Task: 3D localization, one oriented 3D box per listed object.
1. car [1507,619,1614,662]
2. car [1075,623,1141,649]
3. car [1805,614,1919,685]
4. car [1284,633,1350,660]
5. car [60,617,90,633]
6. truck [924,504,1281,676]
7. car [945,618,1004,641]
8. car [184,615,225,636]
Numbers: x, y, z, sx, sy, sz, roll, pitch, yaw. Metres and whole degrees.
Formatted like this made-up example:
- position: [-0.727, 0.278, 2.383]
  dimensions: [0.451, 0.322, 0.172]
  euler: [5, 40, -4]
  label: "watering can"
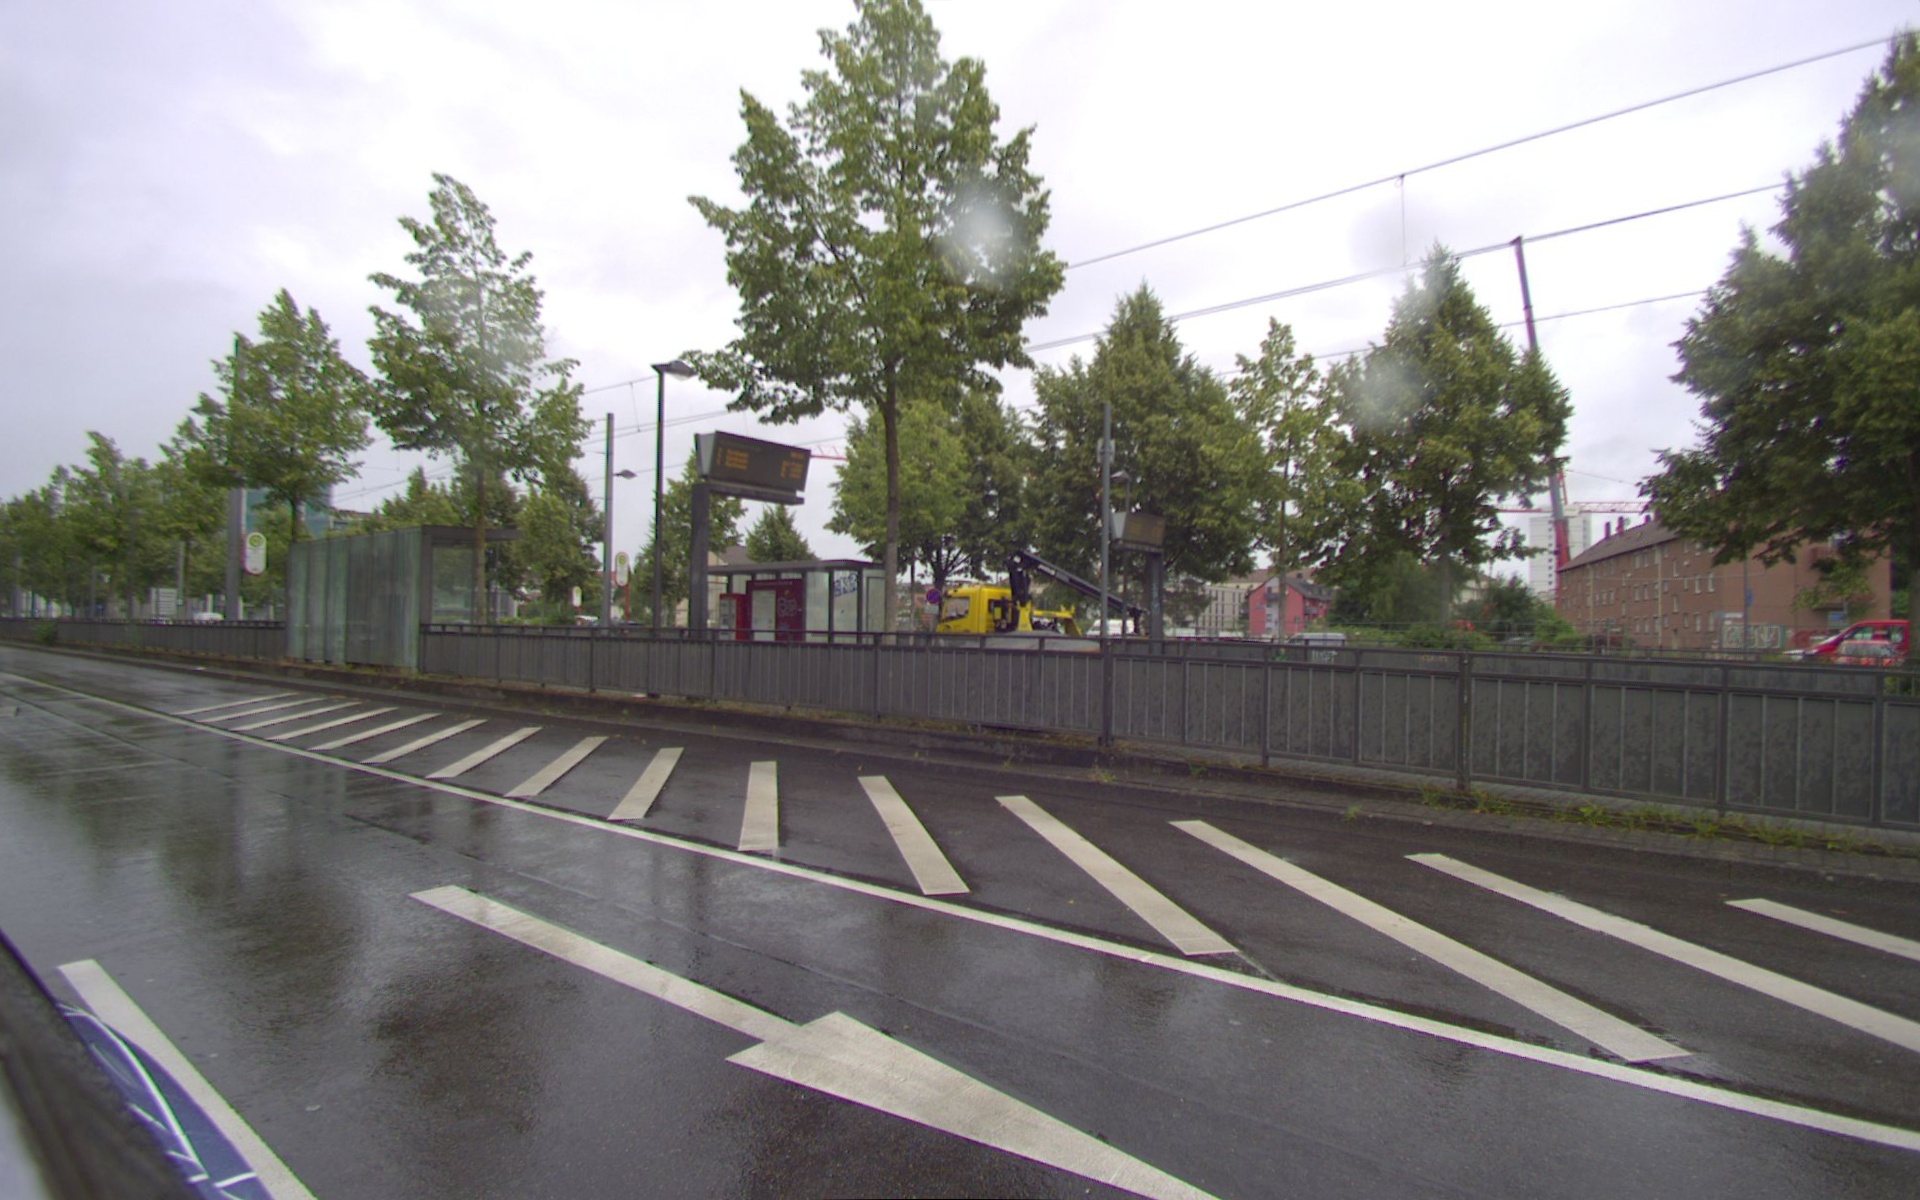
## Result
- position: [36.667, 2.432, 61.897]
  dimensions: [5.482, 2.471, 1.976]
  euler: [0, 0, 36]
  label: "car"
- position: [12.855, 3.089, 88.132]
  dimensions: [5.412, 2.067, 1.975]
  euler: [0, 0, 37]
  label: "car"
- position: [34.366, 1.742, 35.934]
  dimensions: [1.597, 2.489, 6.500]
  euler: [2, -2, -39]
  label: "car"
- position: [27.173, 3.500, 77.121]
  dimensions: [4.415, 1.891, 1.855]
  euler: [0, 0, 34]
  label: "car"
- position: [-104.867, 2.907, 119.918]
  dimensions: [3.995, 1.759, 1.974]
  euler: [0, 0, 38]
  label: "car"
- position: [3.366, -0.218, 26.274]
  dimensions: [9.174, 3.806, 2.660]
  euler: [0, 0, 40]
  label: "truck"
- position: [1.550, 3.130, 107.622]
  dimensions: [6.123, 2.323, 1.978]
  euler: [0, 0, 32]
  label: "car"
- position: [-67.072, 2.204, 89.838]
  dimensions: [3.995, 1.759, 1.974]
  euler: [0, 0, 38]
  label: "car"
